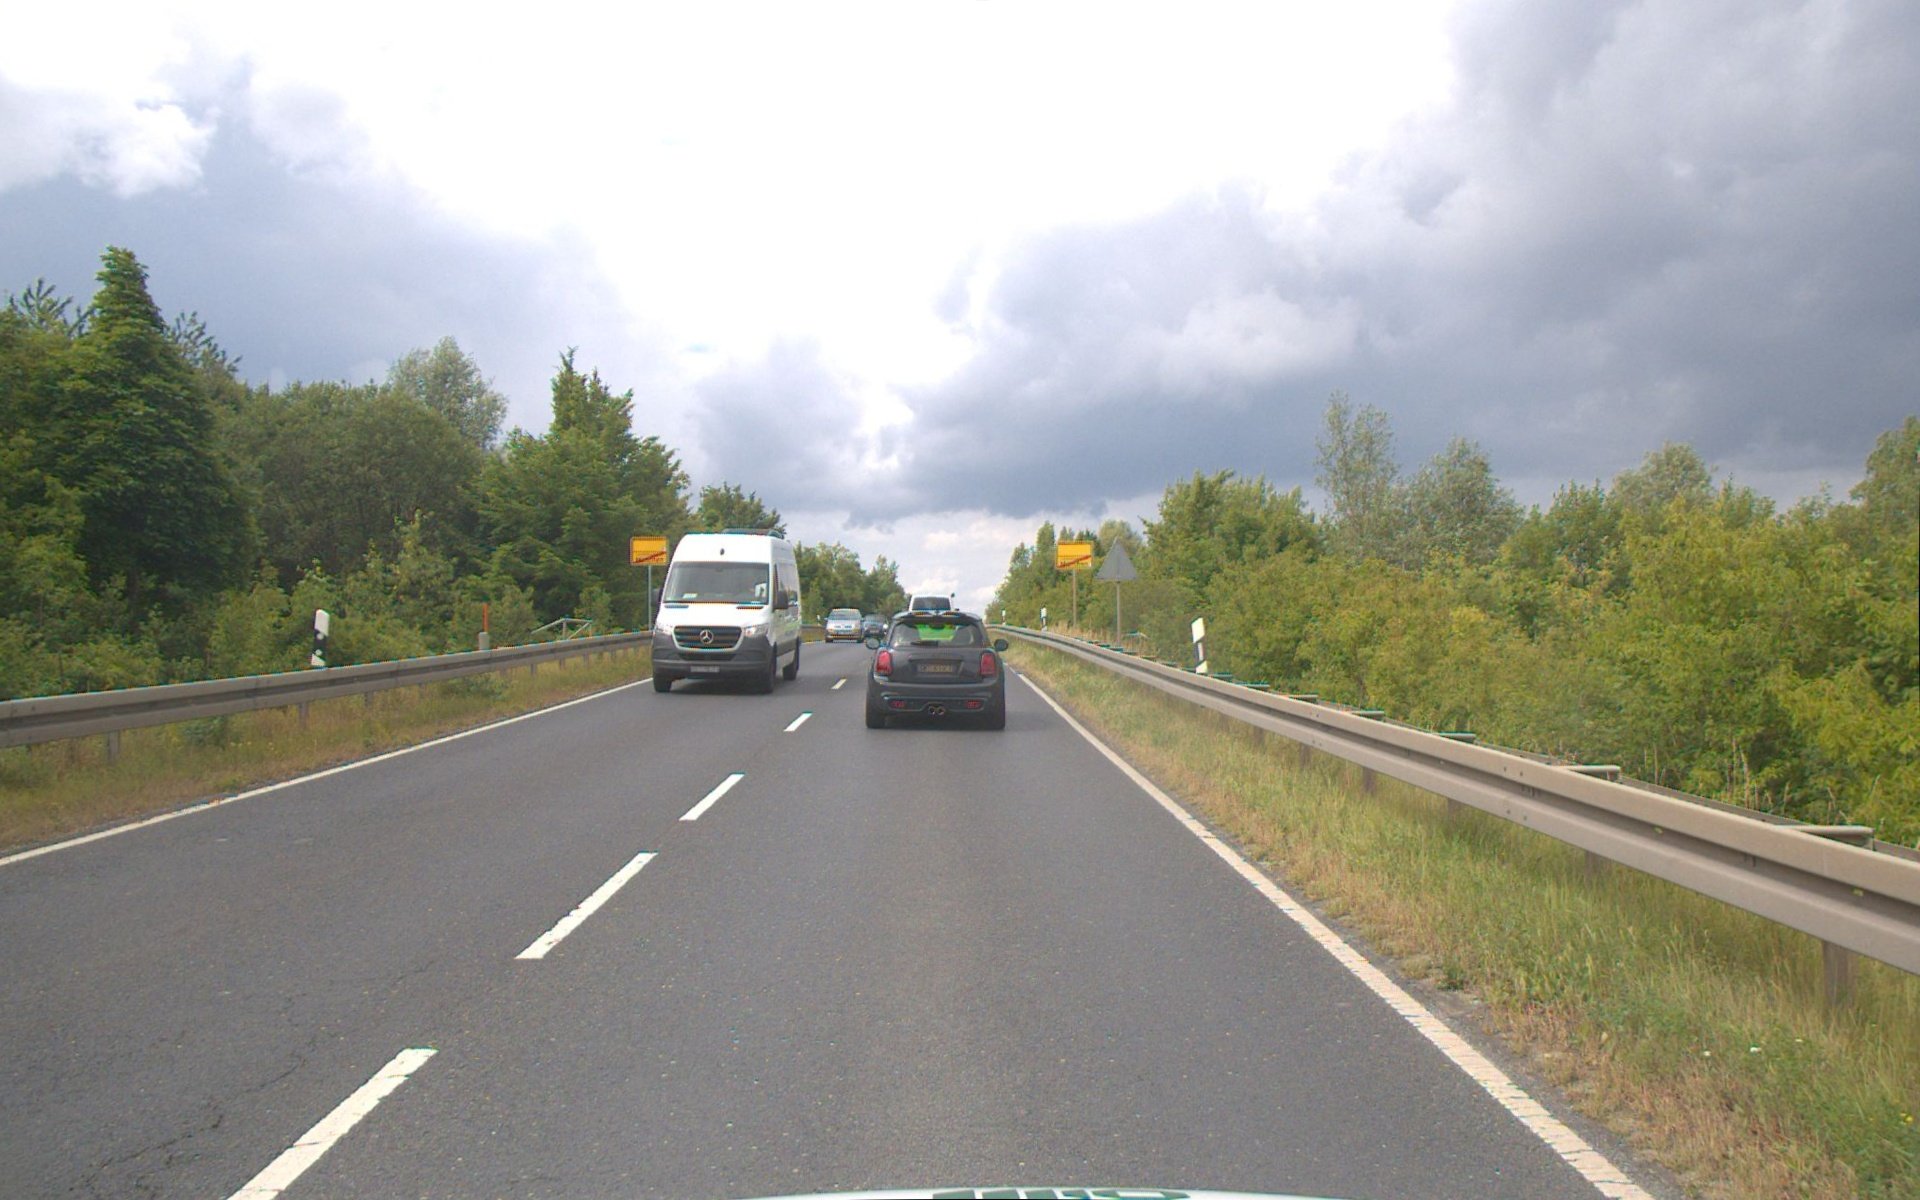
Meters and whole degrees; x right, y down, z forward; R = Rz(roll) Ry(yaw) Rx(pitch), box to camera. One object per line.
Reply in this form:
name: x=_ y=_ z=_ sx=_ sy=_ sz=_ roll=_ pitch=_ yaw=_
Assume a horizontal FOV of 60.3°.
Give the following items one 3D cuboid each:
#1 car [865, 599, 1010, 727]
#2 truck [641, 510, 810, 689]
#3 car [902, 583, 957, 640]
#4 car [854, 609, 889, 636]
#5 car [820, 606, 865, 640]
car: x=-0.292 y=0.748 z=21.544 sx=1.697 sy=1.481 sz=3.999 roll=1 pitch=0 yaw=-1
truck: x=-4.018 y=-0.024 z=29.610 sx=2.023 sy=2.790 sz=7.006 roll=1 pitch=0 yaw=0
car: x=-1.128 y=0.413 z=62.024 sx=1.981 sy=2.048 sz=3.999 roll=0 pitch=0 yaw=-1
car: x=-4.900 y=1.250 z=92.079 sx=1.798 sy=1.445 sz=3.998 roll=1 pitch=-1 yaw=-2
car: x=-5.195 y=1.008 z=73.470 sx=1.798 sy=1.470 sz=3.998 roll=1 pitch=-1 yaw=-2
